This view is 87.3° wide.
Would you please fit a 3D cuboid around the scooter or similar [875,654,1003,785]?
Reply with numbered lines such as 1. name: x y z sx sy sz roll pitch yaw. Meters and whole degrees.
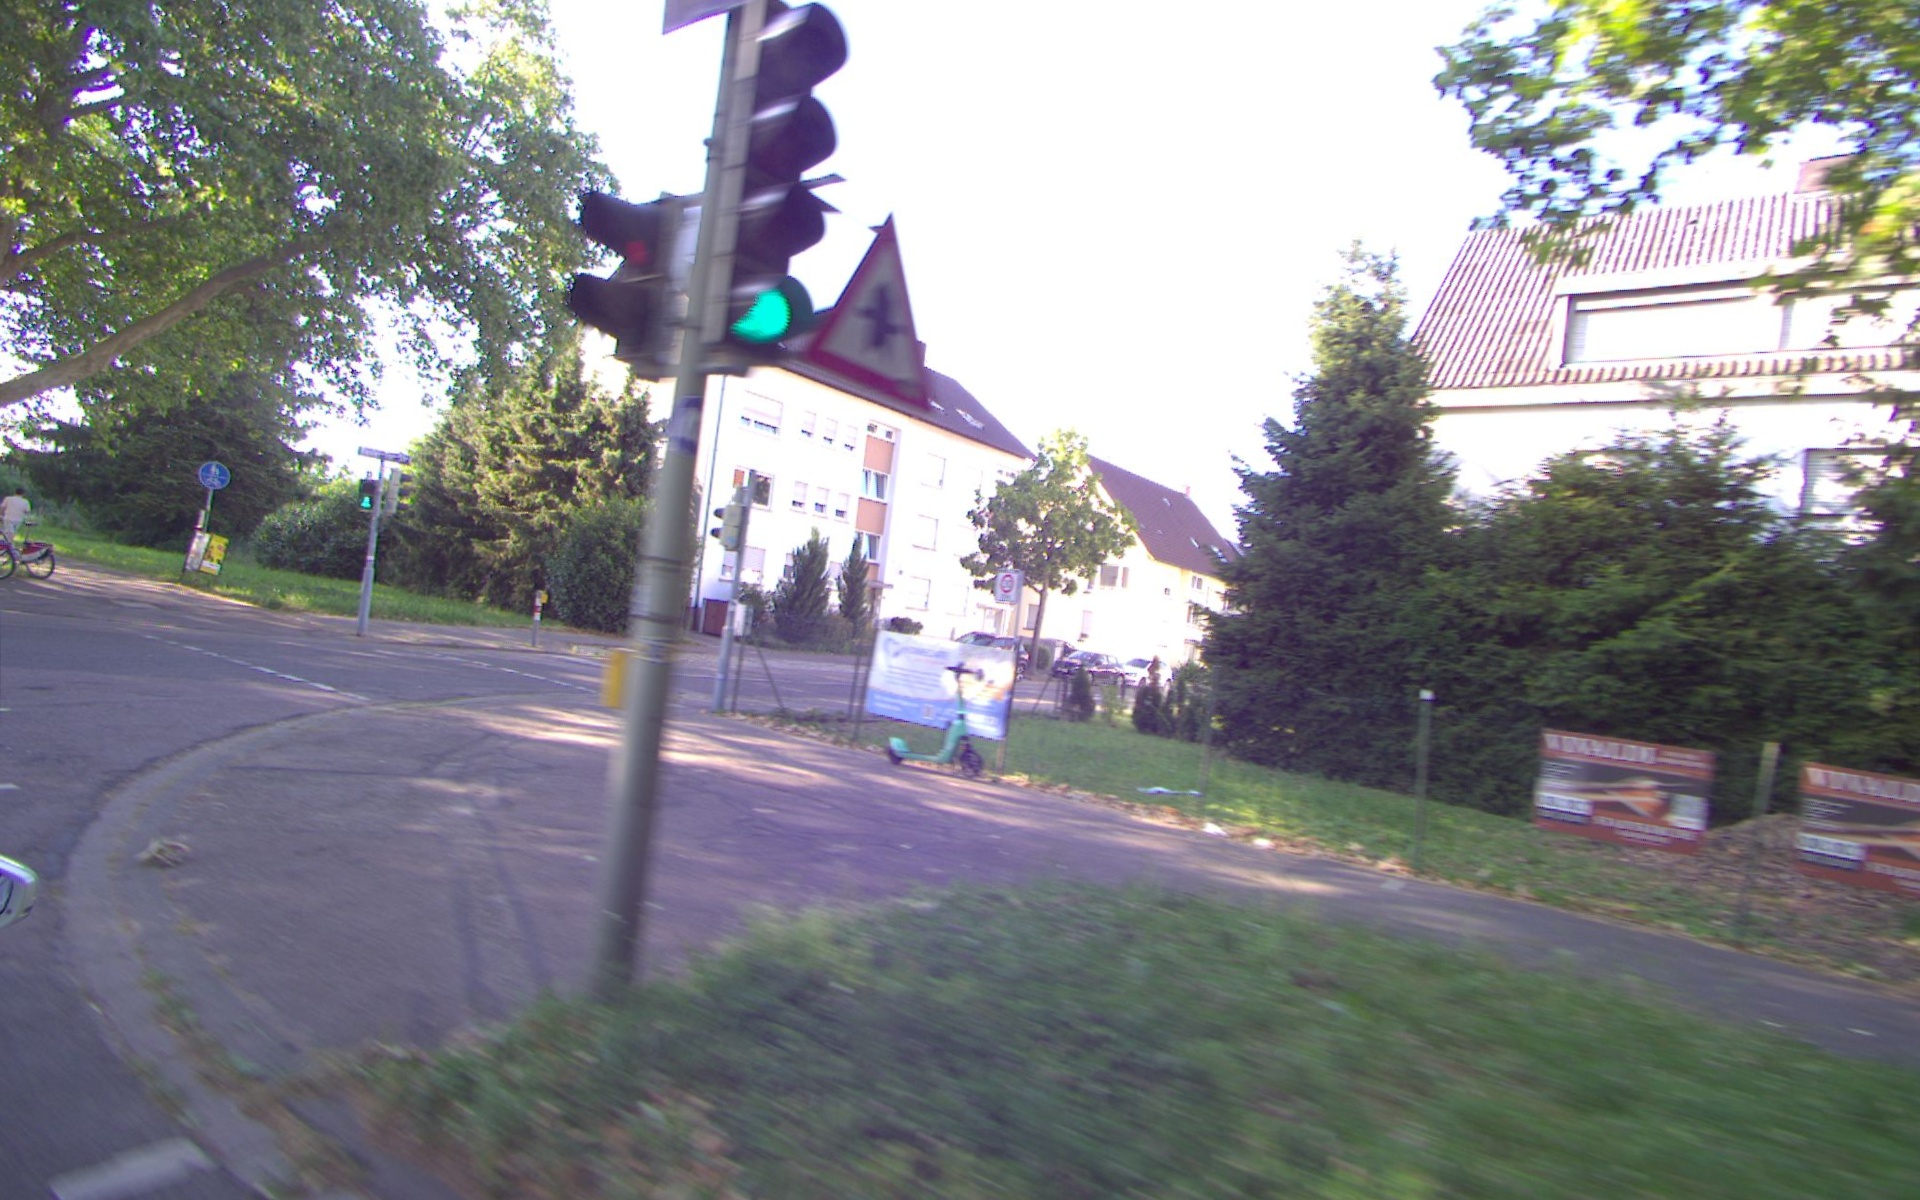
1. scooter or similar: -0.239 1.293 11.053 1.234 1.210 0.383 7 -1 31

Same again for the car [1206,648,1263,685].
1. car: 15.067 3.674 55.085 1.673 1.614 3.583 11 1 35

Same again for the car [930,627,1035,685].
1. car: 0.862 2.048 36.322 1.838 1.614 3.750 11 1 35

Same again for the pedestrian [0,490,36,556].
1. pedestrian: -25.613 -2.100 27.069 0.923 1.670 0.780 7 0 32

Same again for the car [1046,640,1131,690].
1. car: 5.479 2.776 42.616 1.838 1.614 3.750 11 1 35

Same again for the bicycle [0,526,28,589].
1. bicycle: -17.510 -0.844 17.560 1.697 1.048 0.444 8 2 -23

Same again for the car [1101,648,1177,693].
1. car: 8.281 3.264 46.247 1.838 1.614 3.750 11 1 35

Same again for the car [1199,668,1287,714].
1. car: 11.141 3.600 39.531 1.808 1.410 3.548 8 -1 42

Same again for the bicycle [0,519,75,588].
1. bicycle: -17.732 -0.905 18.947 1.970 1.097 0.446 8 2 12
